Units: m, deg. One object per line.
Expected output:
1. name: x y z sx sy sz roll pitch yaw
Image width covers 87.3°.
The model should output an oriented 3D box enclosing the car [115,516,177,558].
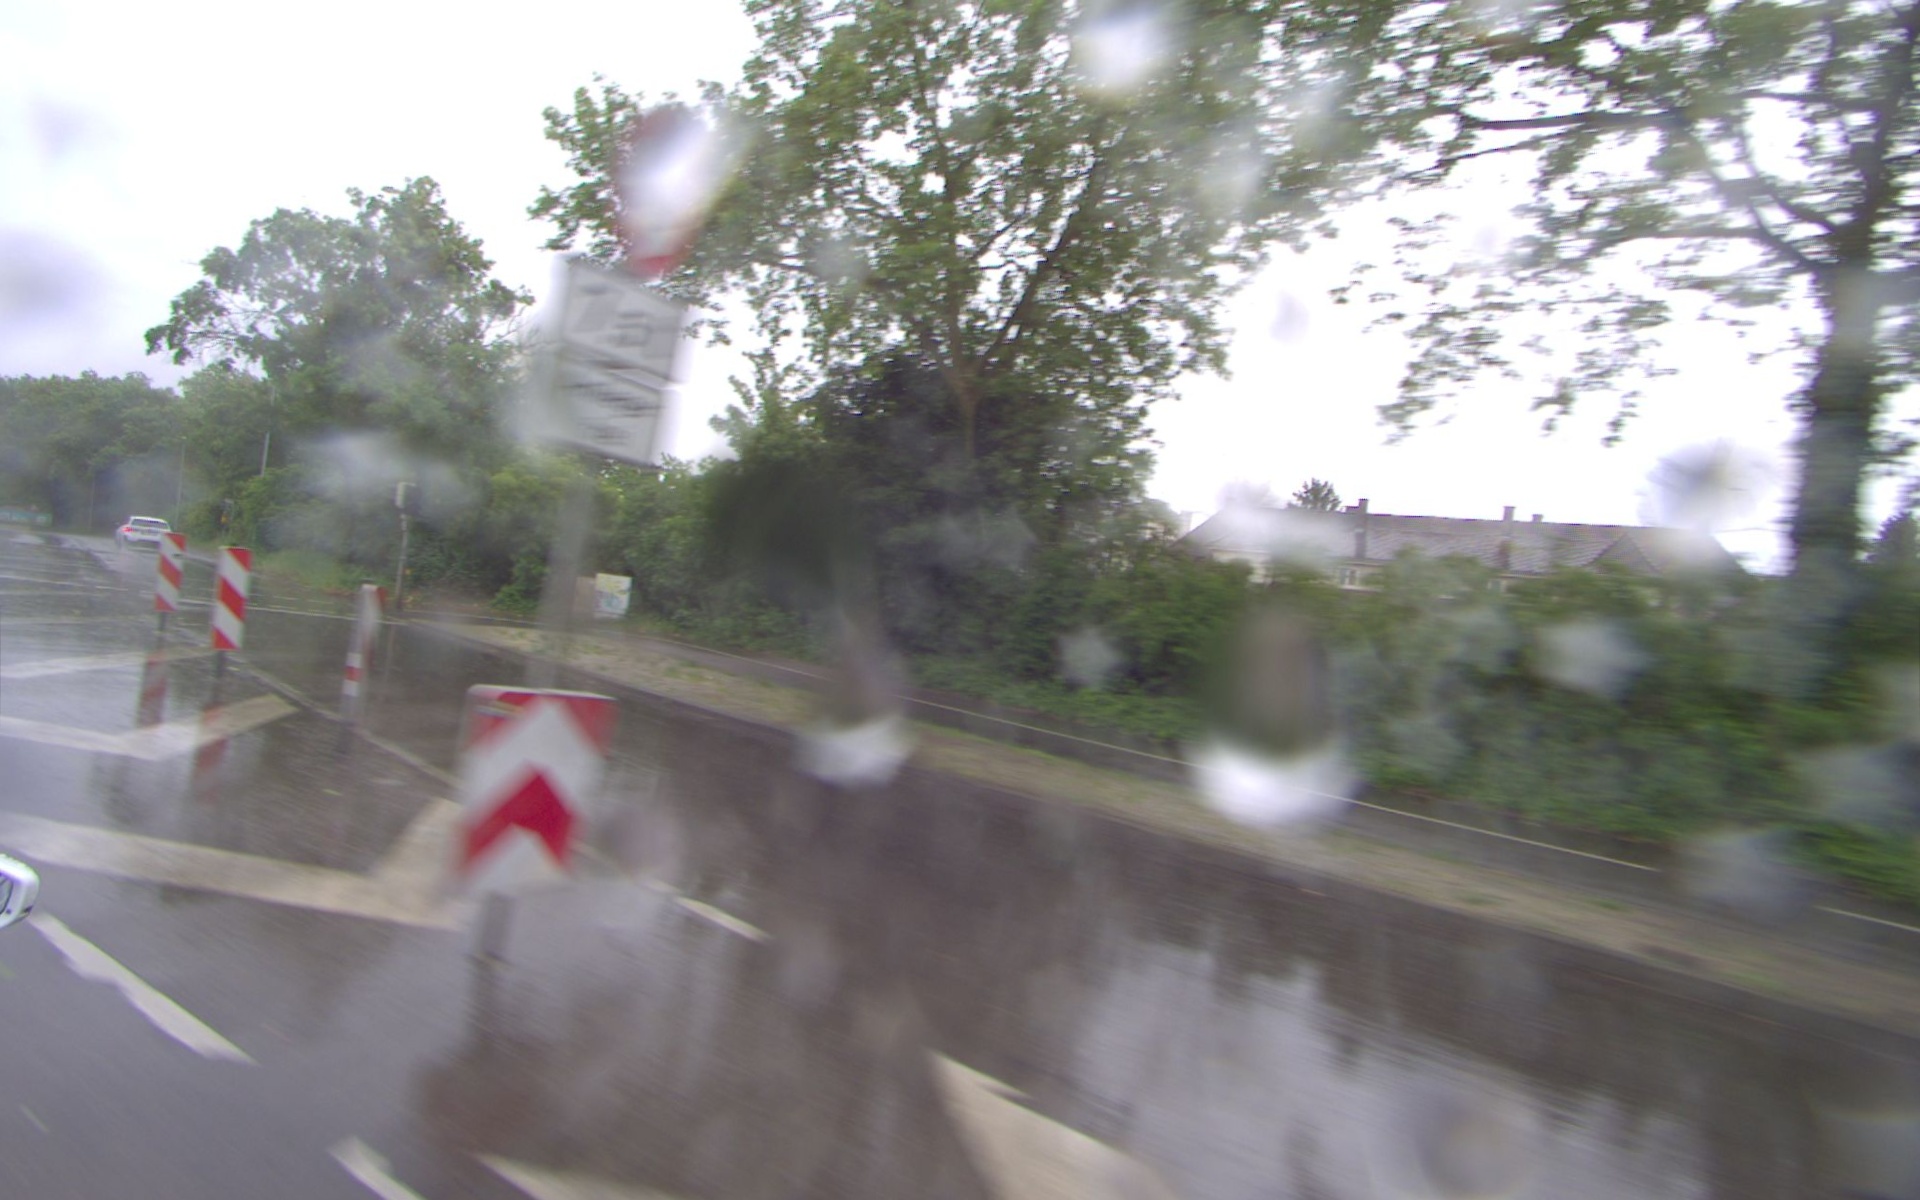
1. car: -35.104 -2.722 43.384 1.881 1.448 3.955 8 -1 -40
